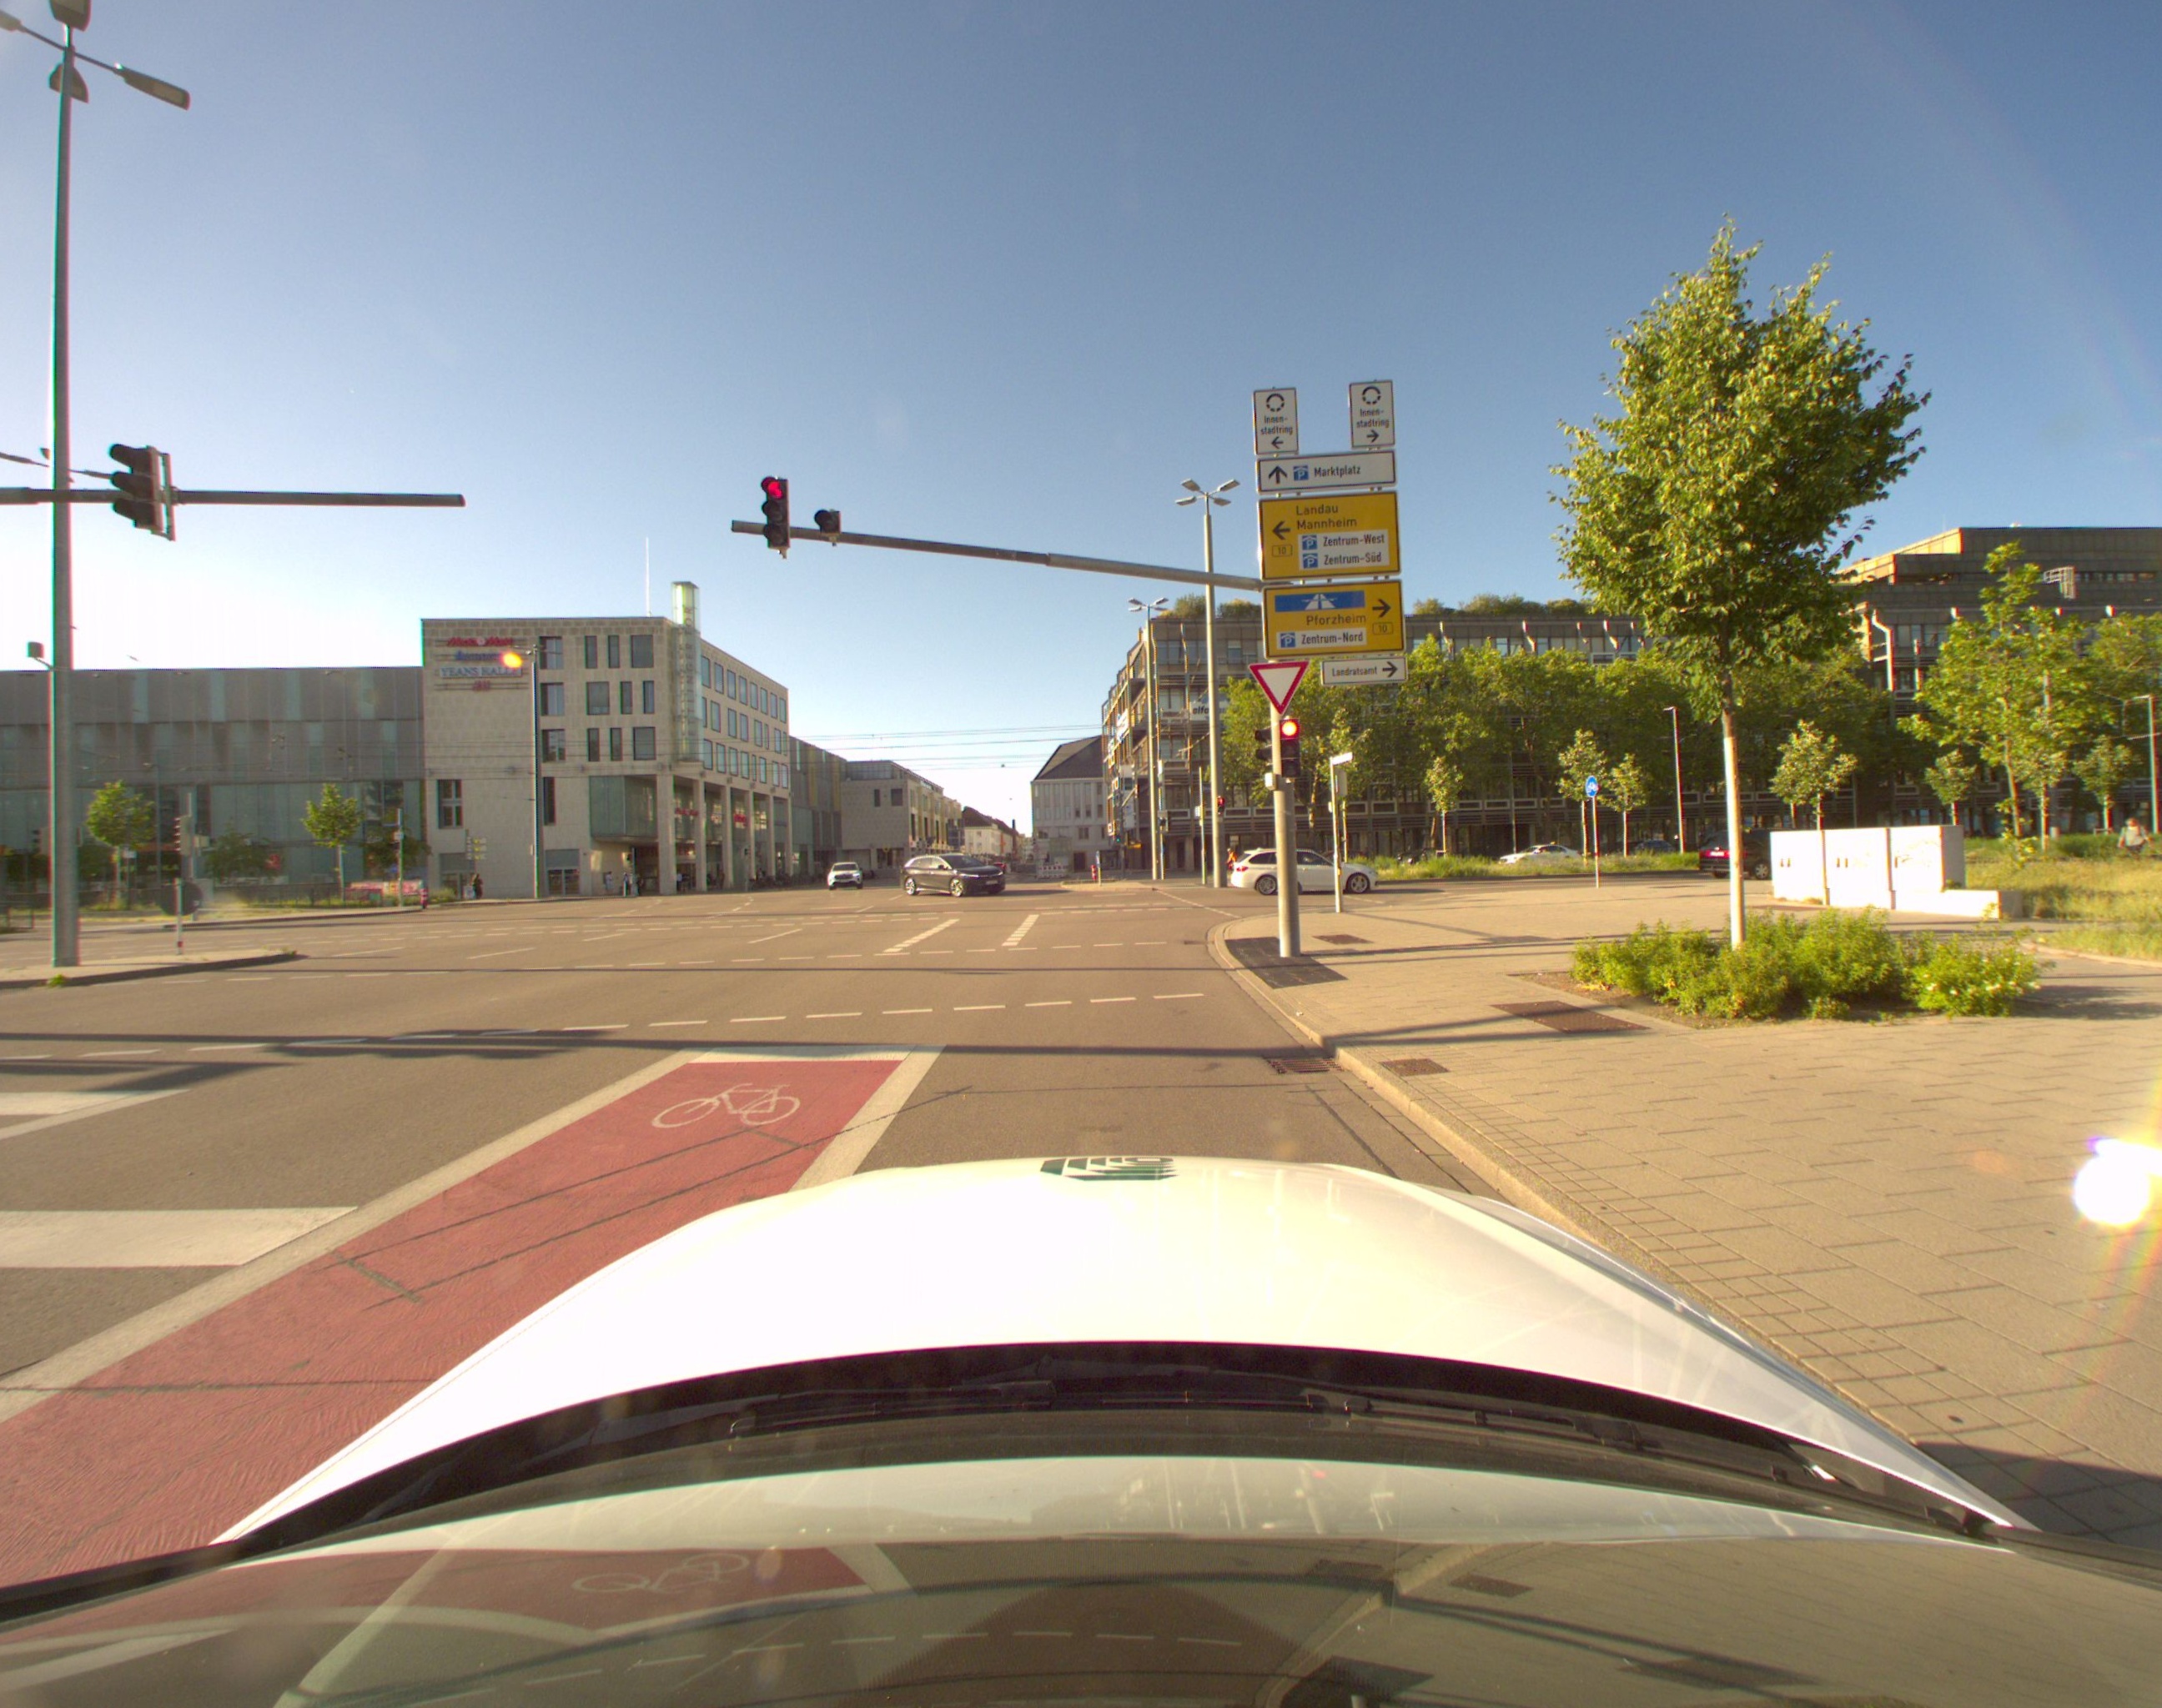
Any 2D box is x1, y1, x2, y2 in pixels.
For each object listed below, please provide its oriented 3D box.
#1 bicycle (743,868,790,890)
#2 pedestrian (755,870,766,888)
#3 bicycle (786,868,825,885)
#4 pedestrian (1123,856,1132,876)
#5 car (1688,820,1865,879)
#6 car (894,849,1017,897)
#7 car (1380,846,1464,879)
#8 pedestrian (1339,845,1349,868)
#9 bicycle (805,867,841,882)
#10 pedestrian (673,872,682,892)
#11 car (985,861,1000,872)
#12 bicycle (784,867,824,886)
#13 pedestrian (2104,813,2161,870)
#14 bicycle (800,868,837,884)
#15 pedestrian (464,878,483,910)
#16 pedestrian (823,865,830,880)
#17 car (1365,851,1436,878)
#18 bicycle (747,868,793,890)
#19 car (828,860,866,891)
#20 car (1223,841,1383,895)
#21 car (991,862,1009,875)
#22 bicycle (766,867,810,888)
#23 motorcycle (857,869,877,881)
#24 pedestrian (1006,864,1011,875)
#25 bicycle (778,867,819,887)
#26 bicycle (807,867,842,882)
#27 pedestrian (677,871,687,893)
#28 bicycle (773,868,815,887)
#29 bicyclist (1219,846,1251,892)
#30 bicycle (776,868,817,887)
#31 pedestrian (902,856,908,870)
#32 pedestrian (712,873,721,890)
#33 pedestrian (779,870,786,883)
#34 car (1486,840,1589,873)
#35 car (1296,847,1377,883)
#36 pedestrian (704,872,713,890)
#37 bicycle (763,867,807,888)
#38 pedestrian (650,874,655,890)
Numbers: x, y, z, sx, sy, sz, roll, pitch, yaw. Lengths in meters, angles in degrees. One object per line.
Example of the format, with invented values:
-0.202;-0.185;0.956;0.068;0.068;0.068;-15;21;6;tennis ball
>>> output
-26.730;2.095;69.294;3.488;1.696;1.114;-2;0;-7;bicycle
-30.166;2.327;76.755;0.785;1.642;0.692;-2;0;-12;pedestrian
-27.408;2.225;81.160;3.491;1.527;0.984;-2;0;-10;bicycle
3.890;1.041;68.668;0.661;1.658;0.755;-2;0;-1;pedestrian
23.313;-0.150;27.392;4.467;1.758;1.996;-2;0;-6;car
-4.742;0.683;30.322;2.012;1.601;4.892;-3;1;-44;car
21.406;0.556;51.246;4.435;2.014;1.998;0;-1;-4;car
19.563;0.167;60.572;0.538;1.669;0.537;-2;0;-1;pedestrian
-27.652;2.210;87.450;3.491;1.527;0.984;-2;0;-10;bicycle
-33.212;2.294;67.016;0.428;1.585;0.498;-2;0;-3;pedestrian
-14.776;2.047;135.844;1.988;1.660;4.402;-3;-1;-2;car
-27.247;2.233;80.163;3.491;1.696;0.984;-2;0;-10;bicycle
31.211;-0.365;24.062;0.801;1.630;0.939;-2;0;-12;pedestrian
-27.547;2.290;85.582;3.491;1.527;0.984;-2;0;-10;bicycle
-32.706;2.159;43.844;0.524;1.694;0.548;-2;0;0;pedestrian
-29.910;2.154;95.638;0.652;1.642;0.693;-2;0;-7;pedestrian
21.404;0.667;54.580;3.976;1.750;1.998;0;-1;-2;car
-26.910;2.152;70.519;3.488;1.696;1.114;-2;0;-7;bicycle
-14.008;1.230;48.572;1.999;1.660;4.380;-2;0;-17;car
7.032;0.441;26.229;4.663;1.528;2.003;-2;0;5;car
-10.789;1.881;108.861;2.195;1.607;4.320;-2;0;-4;car
-26.319;2.114;73.175;3.488;1.696;1.114;-2;0;-7;bicycle
-25.967;2.534;98.866;2.269;1.318;0.719;-2;0;-4;motorcycle
-9.753;2.096;108.890;0.608;1.411;0.569;-2;0;-5;pedestrian
-27.043;2.209;78.067;3.491;1.696;0.984;-2;0;-10;bicycle
-27.921;2.211;88.579;3.491;1.527;0.984;-2;0;-10;bicycle
-30.390;2.150;61.975;0.541;1.642;0.548;-2;0;-14;pedestrian
-26.679;2.179;75.762;3.491;1.696;0.984;-2;0;-10;bicycle
8.886;0.850;47.070;1.566;2.580;0.929;-2;0;-7;bicyclist
-26.855;2.197;76.858;3.491;1.696;0.984;-2;0;-10;bicycle
-25.324;1.304;117.123;0.623;2.013;0.734;-2;0;4;pedestrian
-32.087;2.403;71.661;0.480;1.510;0.513;-2;0;-3;pedestrian
-33.072;2.472;90.148;0.640;1.435;0.472;-2;0;-21;pedestrian
28.894;0.138;51.652;5.424;2.014;2.097;0;-1;-1;car
14.454;0.614;46.208;3.975;2.014;1.999;0;-1;-1;car
-32.468;2.374;71.048;0.510;1.510;0.513;-2;0;-3;pedestrian
-26.143;2.068;71.955;3.488;1.696;1.114;-2;0;-7;bicycle
-38.231;2.462;72.653;0.388;1.426;0.498;-2;0;-26;pedestrian
